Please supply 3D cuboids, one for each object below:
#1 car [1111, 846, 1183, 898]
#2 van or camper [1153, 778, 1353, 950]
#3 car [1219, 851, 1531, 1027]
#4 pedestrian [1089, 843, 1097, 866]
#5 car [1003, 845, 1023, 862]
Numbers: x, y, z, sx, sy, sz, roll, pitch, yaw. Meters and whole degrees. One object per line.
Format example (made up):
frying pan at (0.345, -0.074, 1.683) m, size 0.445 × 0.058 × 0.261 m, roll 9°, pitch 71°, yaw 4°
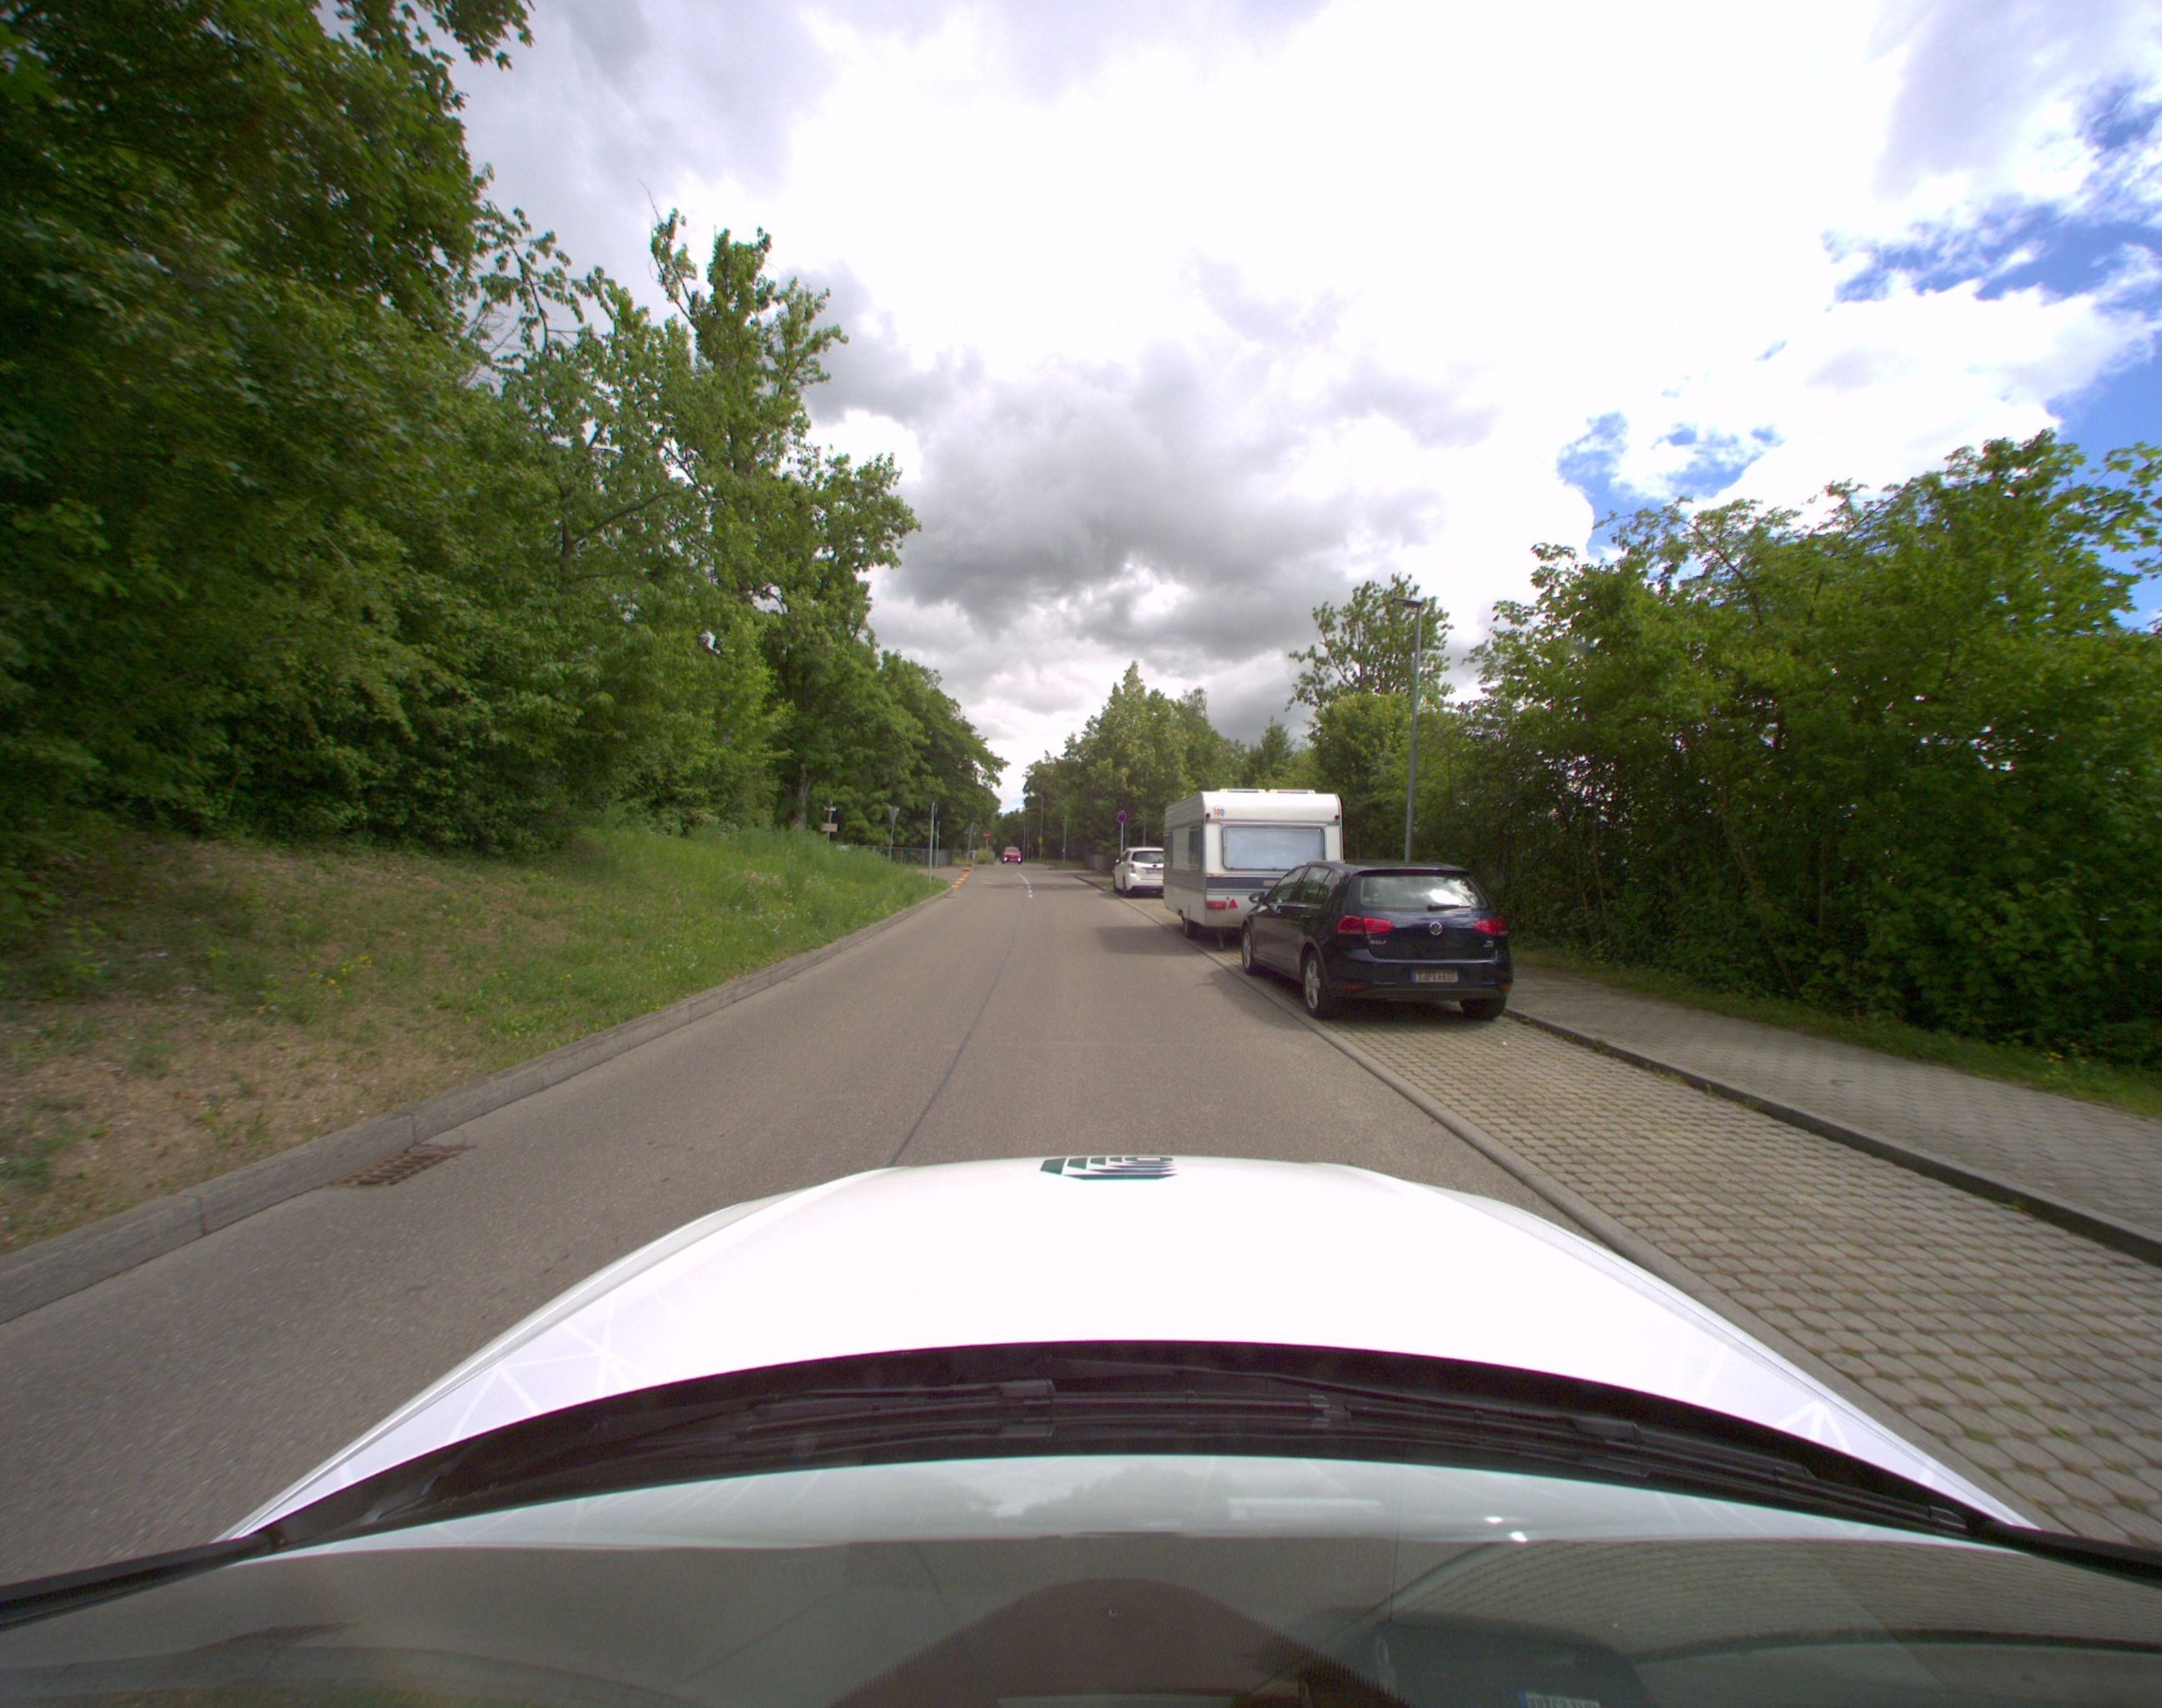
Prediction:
car at (2.136, 0.546, 27.541) m, size 1.801 × 1.600 × 4.365 m, roll 0°, pitch 0°, yaw -4°
van or camper at (2.803, 0.152, 14.674) m, size 2.349 × 2.554 × 5.069 m, roll 0°, pitch 0°, yaw -3°
car at (2.852, 0.719, 9.053) m, size 1.678 × 1.451 × 4.476 m, roll 1°, pitch 0°, yaw -3°
pedestrian at (0.948, 0.041, 64.463) m, size 0.585 × 1.783 × 0.682 m, roll 2°, pitch -2°, yaw -1°
car at (-6.699, -0.083, 80.393) m, size 1.841 × 1.658 × 4.213 m, roll 1°, pitch 0°, yaw -6°
